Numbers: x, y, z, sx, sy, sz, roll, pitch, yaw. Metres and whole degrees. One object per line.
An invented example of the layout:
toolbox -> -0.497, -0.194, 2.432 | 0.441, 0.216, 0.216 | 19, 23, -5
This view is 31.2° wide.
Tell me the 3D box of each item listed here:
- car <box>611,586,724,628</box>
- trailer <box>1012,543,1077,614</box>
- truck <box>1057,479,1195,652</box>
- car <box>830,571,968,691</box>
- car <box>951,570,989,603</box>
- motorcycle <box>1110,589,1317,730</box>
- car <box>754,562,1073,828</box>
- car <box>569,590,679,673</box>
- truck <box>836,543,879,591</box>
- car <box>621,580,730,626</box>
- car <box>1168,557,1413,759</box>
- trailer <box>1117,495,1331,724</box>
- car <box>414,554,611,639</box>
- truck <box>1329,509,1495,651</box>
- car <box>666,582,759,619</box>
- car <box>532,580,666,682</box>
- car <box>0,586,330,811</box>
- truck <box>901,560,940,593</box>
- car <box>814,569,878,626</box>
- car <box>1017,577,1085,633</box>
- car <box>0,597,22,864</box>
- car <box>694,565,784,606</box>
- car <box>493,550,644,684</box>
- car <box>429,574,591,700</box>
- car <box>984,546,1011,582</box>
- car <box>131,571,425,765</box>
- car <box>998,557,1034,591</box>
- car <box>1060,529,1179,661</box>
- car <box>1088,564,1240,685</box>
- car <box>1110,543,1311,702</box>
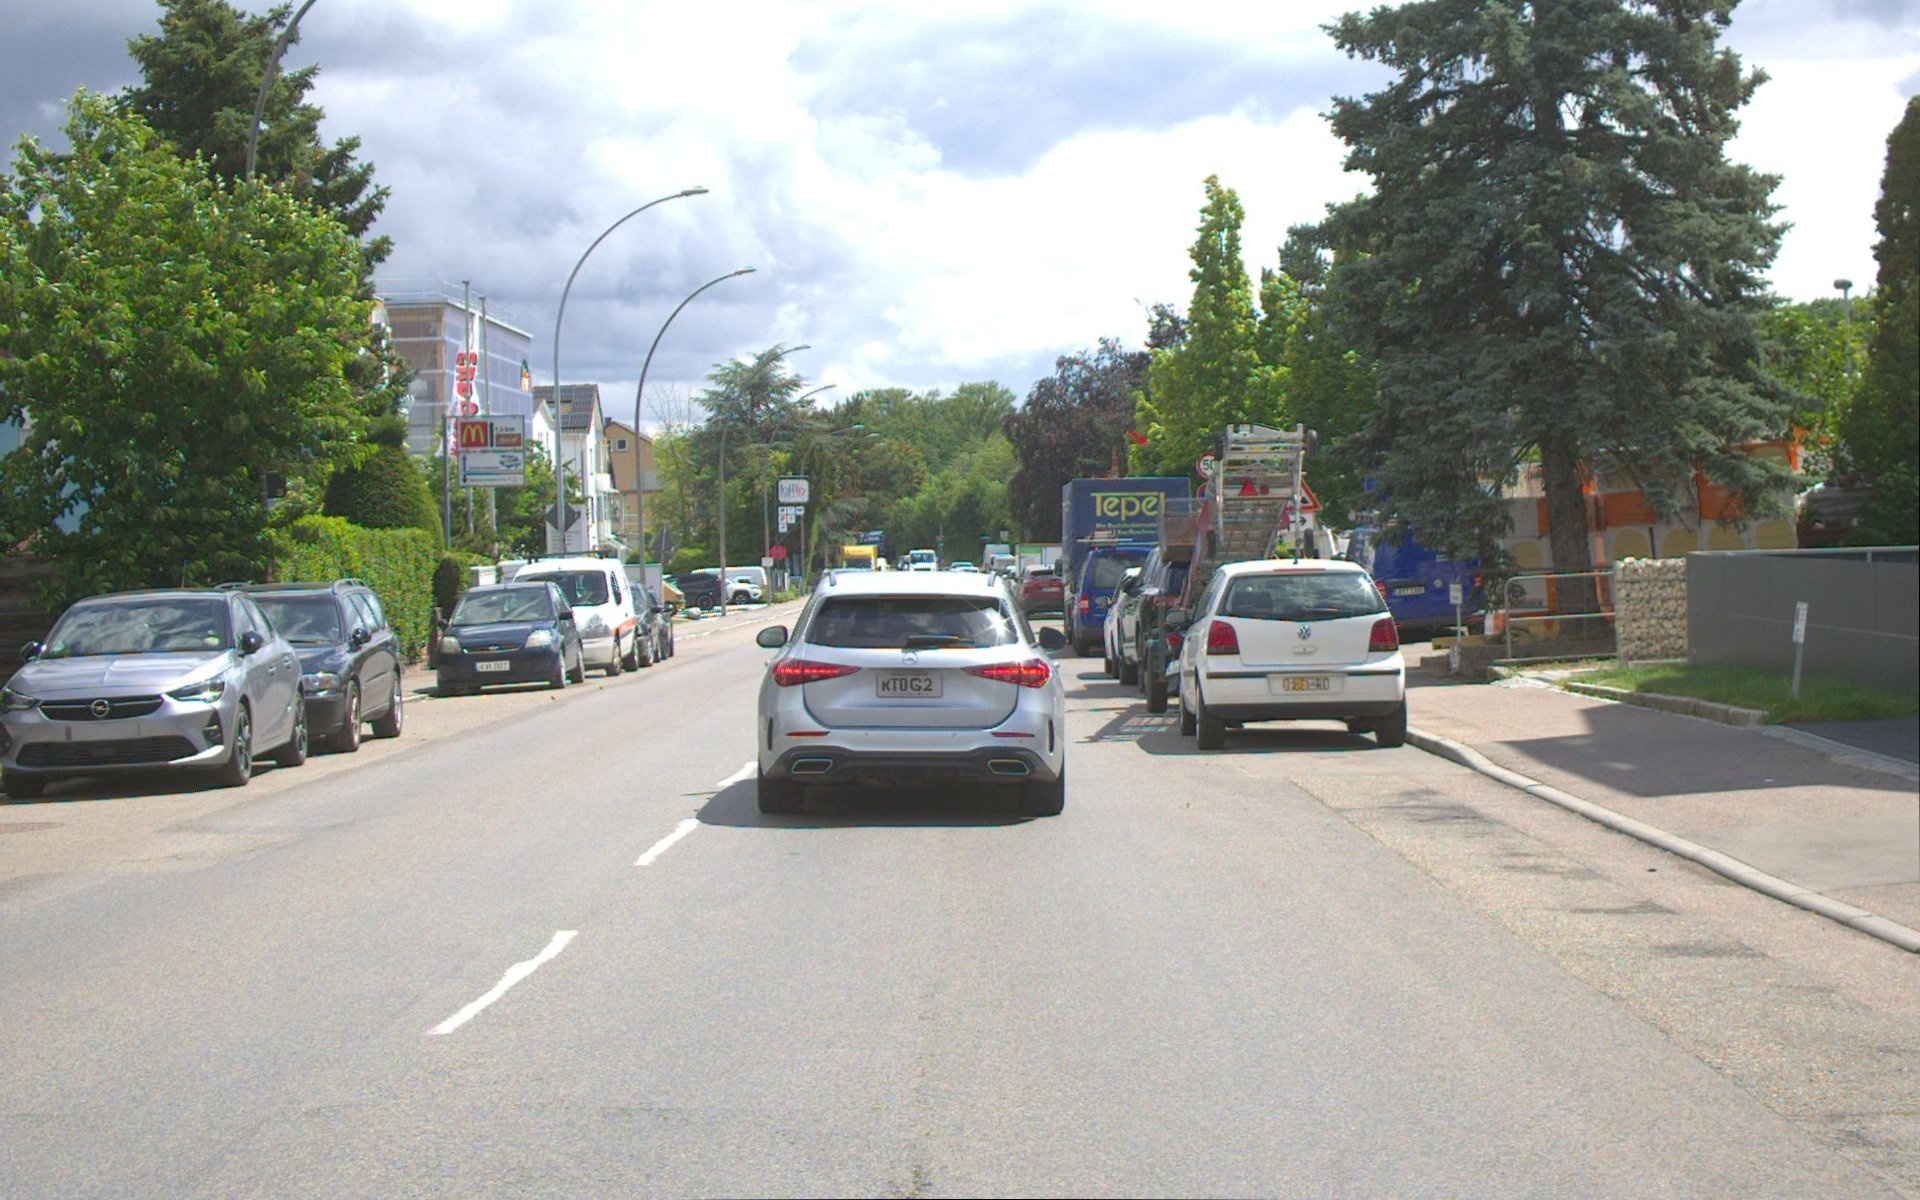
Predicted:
car -> -10.932, 0.252, 128.800 | 4.149, 1.486, 1.826 | 1, 1, -3
trailer -> 2.829, -0.717, 116.235 | 1.941, 2.286, 4.446 | -2, 0, -1
truck -> 3.049, -0.658, 64.536 | 2.320, 3.086, 6.042 | 0, 1, 0
car -> -0.880, 0.394, 47.683 | 1.755, 1.553, 4.001 | -1, 1, -3
car -> 0.484, -0.699, 169.831 | 1.755, 1.553, 4.000 | -1, 1, 0
motorcycle -> 2.340, 0.532, 31.595 | 1.817, 1.205, 0.717 | -2, 1, -35
car -> -0.321, 0.510, 21.529 | 1.784, 1.479, 4.317 | 0, 1, -2
car -> -6.095, 0.555, 62.715 | 1.630, 1.299, 4.117 | -5, 1, -2
truck -> -6.213, -2.048, 209.358 | 2.075, 2.804, 7.077 | -3, 1, 1
car -> -12.595, 0.129, 152.412 | 4.626, 1.627, 2.198 | -5, 1, -3
car -> 2.646, 0.419, 28.295 | 1.719, 1.427, 3.983 | -3, 1, 2
trailer -> 2.625, 0.065, 34.996 | 1.773, 2.137, 4.114 | -2, 1, 0
car -> -11.107, -0.100, 85.542 | 4.651, 1.965, 2.116 | -2, 1, -3
truck -> 7.468, -0.388, 57.238 | 1.829, 2.074, 5.386 | -5, 2, -1
car -> -11.864, 0.032, 165.121 | 4.279, 1.561, 1.991 | -2, -3, 1
car -> -6.007, 0.483, 57.641 | 1.743, 1.467, 4.644 | -5, 1, -1
car -> -5.966, 0.674, 25.862 | 1.719, 1.427, 4.200 | -3, 1, -2
truck -> -2.765, -1.664, 242.665 | 2.319, 2.171, 6.448 | -2, 1, 2
car -> -3.375, -0.087, 102.351 | 1.743, 1.622, 4.356 | -1, 1, 0
car -> 2.801, 0.141, 104.876 | 1.941, 1.566, 4.445 | -2, 1, 2
car -> -5.948, 0.764, 16.473 | 1.662, 1.409, 4.338 | -3, 1, 0
car -> -10.925, -0.714, 170.331 | 4.279, 1.830, 1.991 | -2, -3, -1
car -> -5.936, 0.221, 52.556 | 1.743, 1.832, 4.356 | -5, 1, -1
car -> -6.061, 0.460, 46.636 | 1.639, 1.482, 4.000 | -5, 1, -1
car -> 2.715, -2.576, 248.317 | 1.784, 2.510, 4.317 | 0, 0, -2
car -> -5.946, 0.536, 30.485 | 1.719, 1.488, 4.736 | -3, 1, -2
car -> 3.415, -1.619, 210.958 | 2.144, 1.977, 5.261 | -2, 0, 1
car -> 2.690, -0.106, 58.932 | 1.873, 2.161, 4.464 | 0, 1, 1
car -> 2.747, 0.304, 47.047 | 1.773, 1.503, 4.000 | -2, 1, 0
car -> 2.931, 0.224, 41.113 | 1.873, 1.721, 4.713 | -2, 1, -2
